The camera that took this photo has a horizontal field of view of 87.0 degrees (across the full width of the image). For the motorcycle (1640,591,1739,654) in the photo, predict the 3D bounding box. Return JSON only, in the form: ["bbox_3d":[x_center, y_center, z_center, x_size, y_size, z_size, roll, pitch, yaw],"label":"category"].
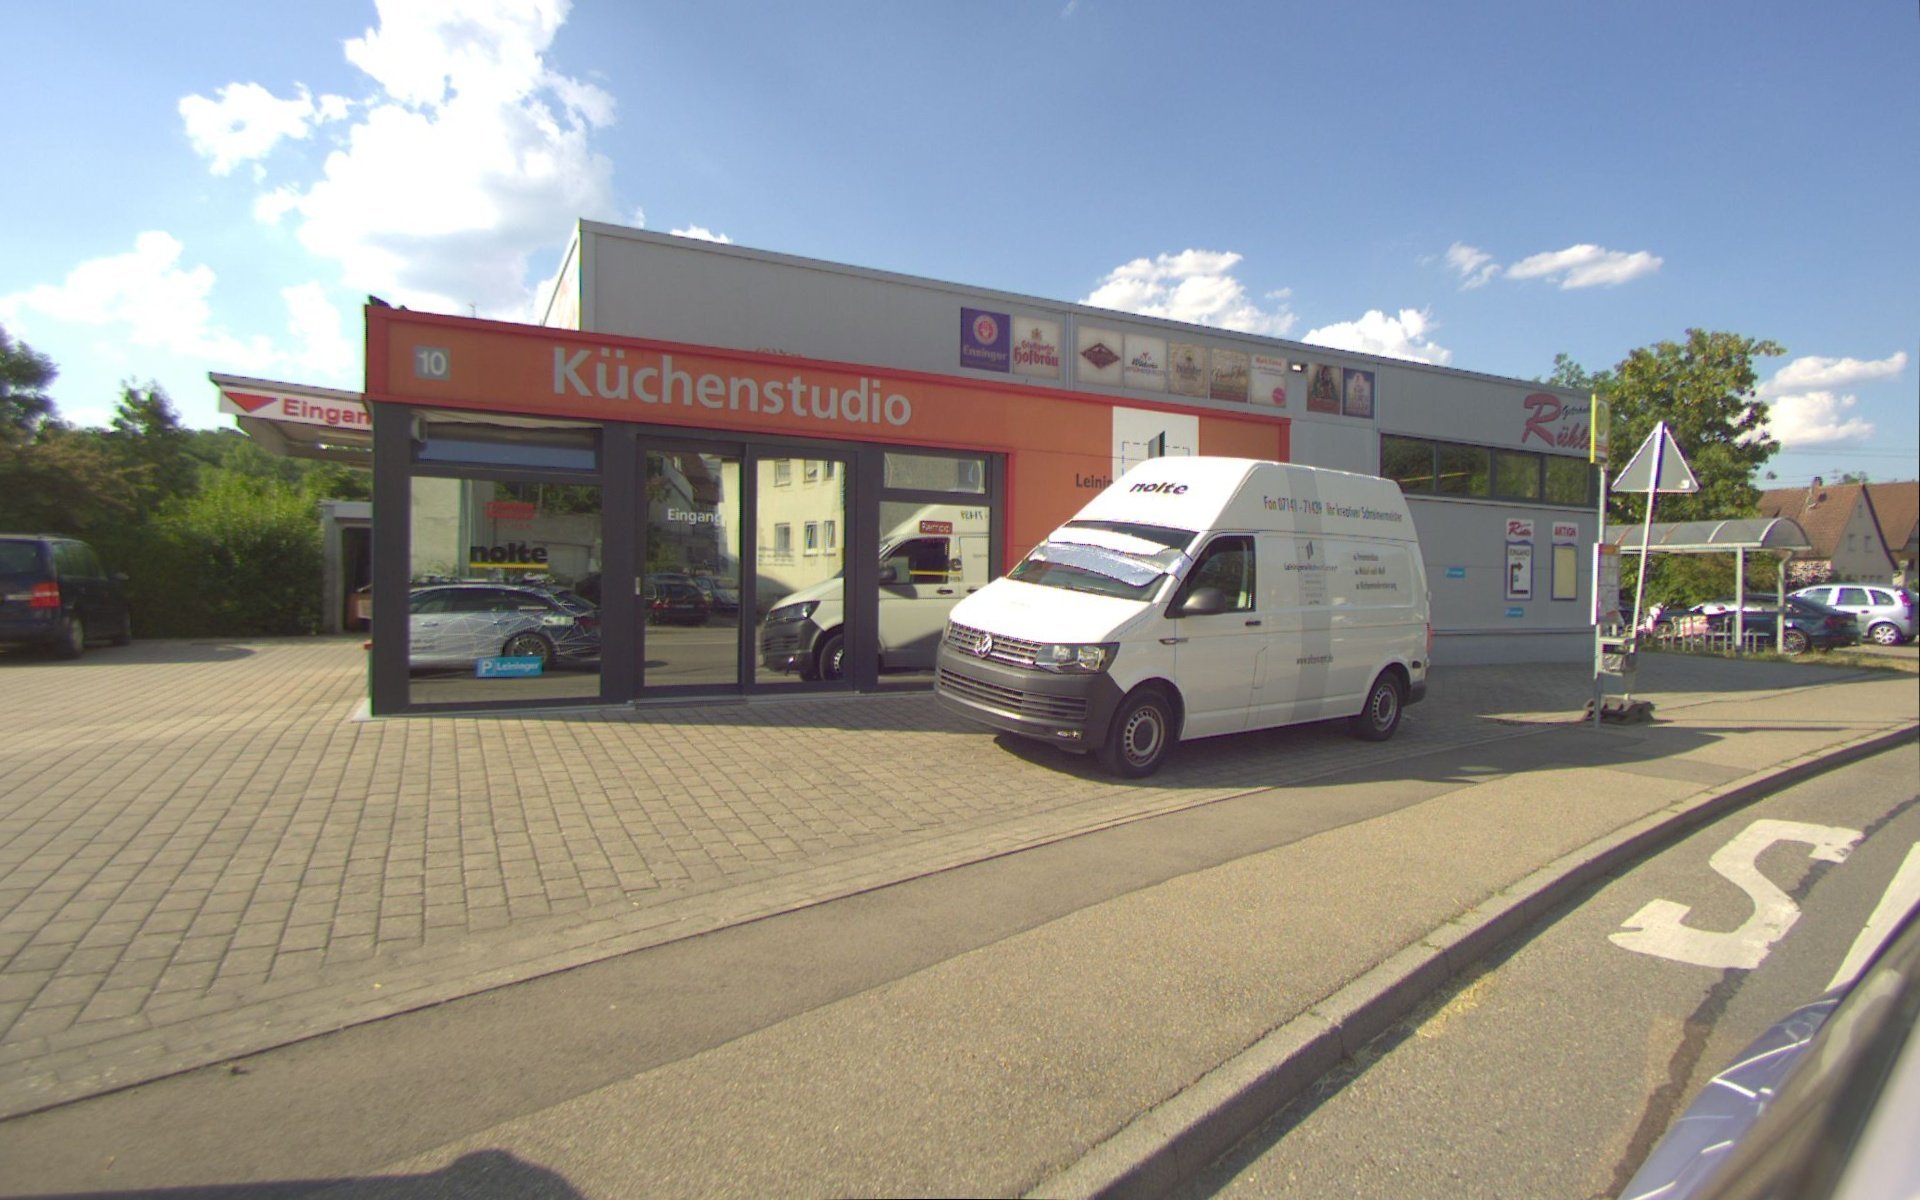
[{"bbox_3d":[17.097,0.501,23.742,1.822,1.340,0.632,3,2,38],"label":"motorcycle"}]

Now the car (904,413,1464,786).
[{"bbox_3d":[2.171,-0.091,8.810,5.085,2.402,1.842,0,6,-39],"label":"car"}]

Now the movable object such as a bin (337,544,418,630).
[{"bbox_3d":[-12.174,-0.279,21.266,1.152,1.669,3.029,0,1,-24],"label":"movable object such as a bin"}]

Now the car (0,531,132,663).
[{"bbox_3d":[-12.855,-0.077,13.924,1.607,1.615,3.649,-1,2,-29],"label":"car"}]

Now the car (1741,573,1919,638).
[{"bbox_3d":[23.993,0.094,27.593,1.650,1.623,3.953,-1,2,-34],"label":"car"}]

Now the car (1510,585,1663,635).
[{"bbox_3d":[20.509,0.286,33.281,1.650,1.466,3.953,-1,2,-34],"label":"car"}]

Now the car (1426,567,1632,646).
[{"bbox_3d":[11.942,0.087,21.480,1.467,1.475,3.575,1,2,-26],"label":"car"}]

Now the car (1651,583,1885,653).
[{"bbox_3d":[19.307,0.359,24.379,1.594,1.434,4.082,0,3,-32],"label":"car"}]

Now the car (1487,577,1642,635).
[{"bbox_3d":[16.939,0.108,28.496,1.468,1.434,3.453,0,3,-30],"label":"car"}]
